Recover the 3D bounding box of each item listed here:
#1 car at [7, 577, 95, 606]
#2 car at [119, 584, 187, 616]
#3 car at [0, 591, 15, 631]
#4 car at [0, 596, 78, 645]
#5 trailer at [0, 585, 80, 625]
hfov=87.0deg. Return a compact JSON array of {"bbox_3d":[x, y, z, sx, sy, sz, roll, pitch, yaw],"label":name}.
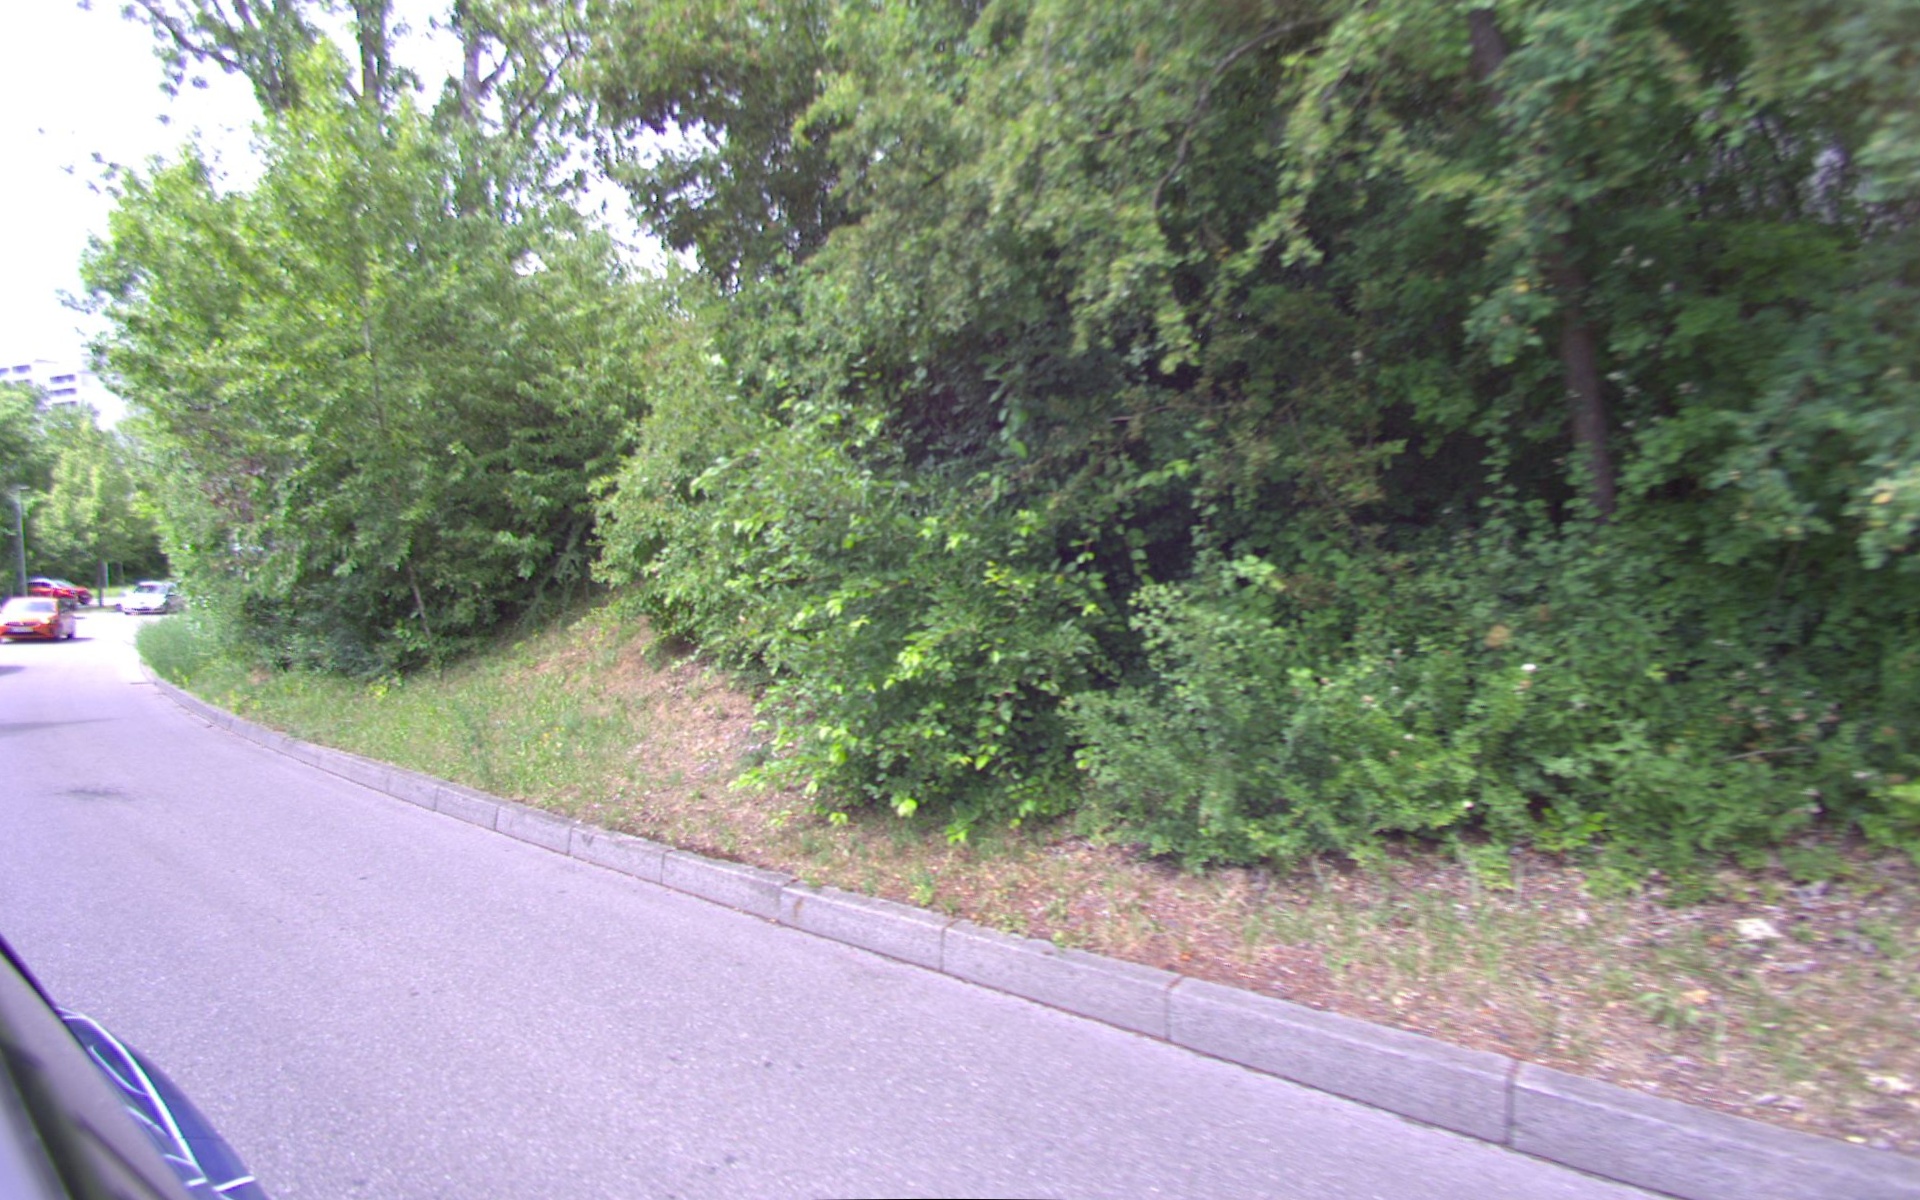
[{"bbox_3d":[-52.472,-0.502,58.468,3.433,1.528,1.655,-1,3,-7],"label":"car"},{"bbox_3d":[-41.278,-0.046,51.865,1.766,1.520,4.127,-2,1,-25],"label":"car"},{"bbox_3d":[-37.565,0.433,38.404,1.682,1.488,3.795,0,1,-31],"label":"car"},{"bbox_3d":[-30.688,0.635,33.476,1.767,1.423,4.124,1,1,-34],"label":"car"},{"bbox_3d":[-41.388,0.182,45.402,1.784,1.590,4.505,0,2,-27],"label":"trailer"}]
